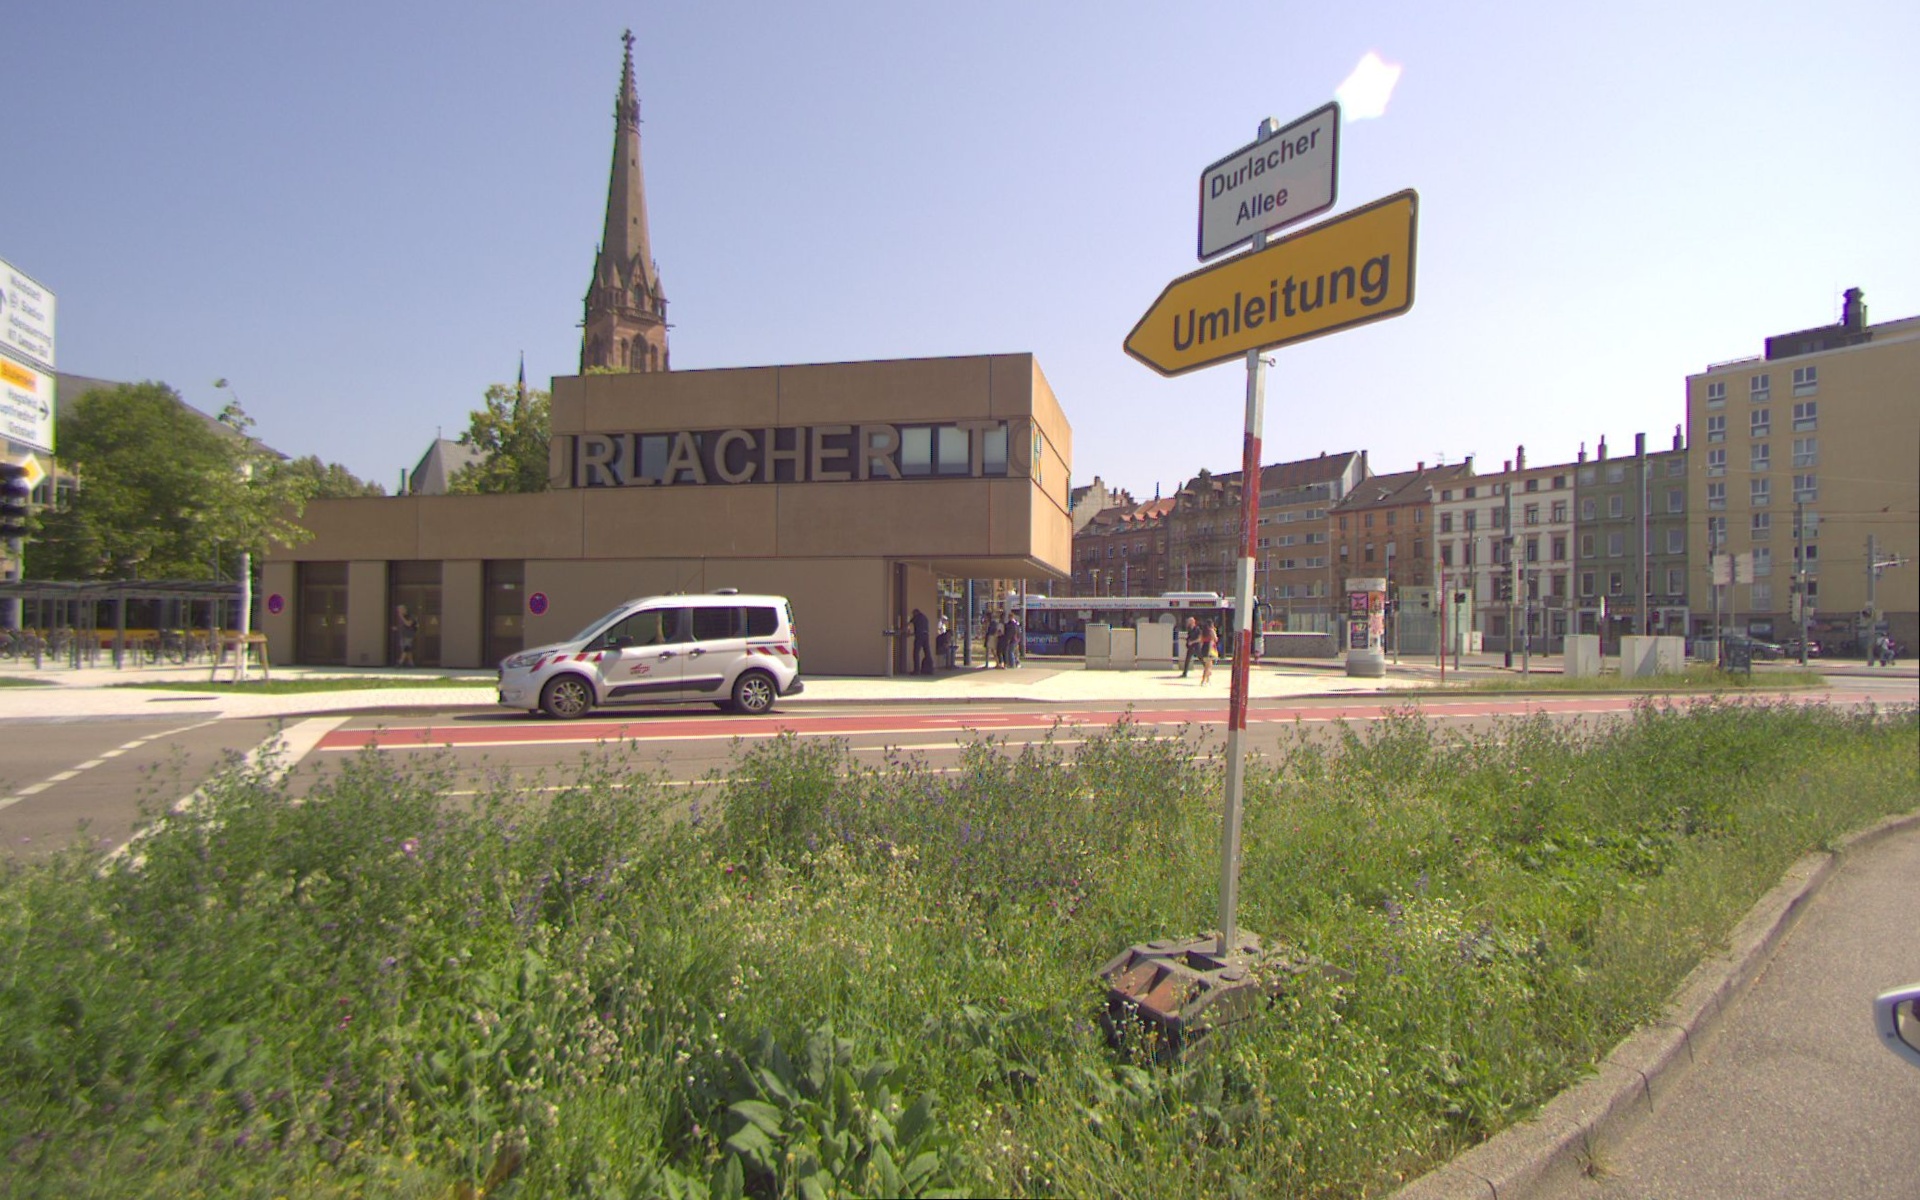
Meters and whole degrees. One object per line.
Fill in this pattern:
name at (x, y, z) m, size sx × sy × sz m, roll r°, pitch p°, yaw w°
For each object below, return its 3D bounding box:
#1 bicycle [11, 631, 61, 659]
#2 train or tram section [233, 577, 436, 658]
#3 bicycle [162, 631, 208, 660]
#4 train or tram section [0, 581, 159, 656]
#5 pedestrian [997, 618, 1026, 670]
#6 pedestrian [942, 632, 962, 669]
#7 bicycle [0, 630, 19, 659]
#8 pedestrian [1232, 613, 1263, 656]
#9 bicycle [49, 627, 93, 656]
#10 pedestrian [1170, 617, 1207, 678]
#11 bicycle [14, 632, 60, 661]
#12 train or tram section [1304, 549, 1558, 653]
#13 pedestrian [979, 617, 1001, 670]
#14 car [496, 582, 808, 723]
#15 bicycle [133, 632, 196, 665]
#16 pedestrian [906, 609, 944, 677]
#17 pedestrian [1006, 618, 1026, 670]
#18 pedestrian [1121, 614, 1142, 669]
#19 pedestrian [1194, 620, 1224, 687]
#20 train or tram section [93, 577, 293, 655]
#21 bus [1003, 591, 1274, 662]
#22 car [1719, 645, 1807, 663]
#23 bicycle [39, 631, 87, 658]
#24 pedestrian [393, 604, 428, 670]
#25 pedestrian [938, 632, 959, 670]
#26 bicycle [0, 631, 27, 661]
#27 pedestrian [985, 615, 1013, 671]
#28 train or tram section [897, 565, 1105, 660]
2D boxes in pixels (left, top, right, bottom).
bicycle at (-35.510, 1.722, 38.592) m, size 1.734 × 1.054 × 0.527 m, roll 0°, pitch -2°, yaw 15°
train or tram section at (-29.866, 0.930, 48.094) m, size 8.353 × 3.644 × 3.164 m, roll -1°, pitch -3°, yaw 12°
bicycle at (-28.616, 1.664, 37.080) m, size 1.608 × 1.054 × 0.413 m, roll 0°, pitch -2°, yaw 15°
train or tram section at (-46.090, 1.023, 51.644) m, size 8.159 × 3.606 × 3.141 m, roll -1°, pitch -3°, yaw 12°
pedestrian at (1.695, 1.450, 32.920) m, size 0.797 × 1.691 × 0.548 m, roll 1°, pitch -1°, yaw -21°
pedestrian at (-0.228, 1.510, 29.985) m, size 0.490 × 1.098 × 0.541 m, roll 0°, pitch -1°, yaw 11°
bicycle at (-35.930, 1.650, 37.320) m, size 1.734 × 1.054 × 0.527 m, roll 0°, pitch -2°, yaw 15°
pedestrian at (12.738, 1.534, 44.605) m, size 1.284 × 1.910 × 1.039 m, roll 0°, pitch -2°, yaw 14°
bicycle at (-33.634, 1.566, 37.998) m, size 1.608 × 1.054 × 0.413 m, roll 0°, pitch -2°, yaw 15°
pedestrian at (6.529, 1.349, 28.745) m, size 0.797 × 1.725 × 0.643 m, roll 1°, pitch -1°, yaw -21°
bicycle at (-33.722, 1.691, 36.715) m, size 1.608 × 1.054 × 0.413 m, roll 0°, pitch -2°, yaw 15°
train or tram section at (17.503, 0.155, 37.971) m, size 8.078 × 3.616 × 3.148 m, roll -1°, pitch -3°, yaw 12°
pedestrian at (0.939, 1.358, 31.530) m, size 0.502 × 1.635 × 0.490 m, roll 0°, pitch -2°, yaw 36°
car at (-4.654, 0.802, 15.253) m, size 4.278 × 1.884 × 1.987 m, roll 1°, pitch -4°, yaw -27°
bicycle at (-25.675, 1.565, 32.425) m, size 1.700 × 1.054 × 0.514 m, roll 0°, pitch -2°, yaw 5°
pedestrian at (-0.890, 1.084, 25.600) m, size 0.624 × 1.711 × 0.743 m, roll -1°, pitch -2°, yaw 42°
pedestrian at (1.797, 1.414, 32.194) m, size 0.559 × 1.635 × 0.492 m, roll 0°, pitch -1°, yaw 9°
pedestrian at (5.635, 1.367, 33.067) m, size 0.540 × 1.786 × 0.697 m, roll 1°, pitch -1°, yaw -1°
pedestrian at (6.594, 1.404, 26.586) m, size 0.616 × 1.725 × 0.787 m, roll 2°, pitch -1°, yaw 23°
train or tram section at (-38.016, 0.871, 49.889) m, size 8.353 × 3.644 × 3.164 m, roll -1°, pitch -3°, yaw 12°
bus at (8.329, 1.221, 47.492) m, size 12.230 × 3.111 × 3.109 m, roll 0°, pitch -2°, yaw 13°
car at (48.712, 3.274, 60.980) m, size 1.700 × 1.000 × 3.855 m, roll 2°, pitch -2°, yaw -36°
bicycle at (-35.548, 1.756, 39.796) m, size 1.734 × 1.054 × 0.527 m, roll 0°, pitch -2°, yaw 15°
pedestrian at (-14.269, 0.959, 26.085) m, size 0.525 × 1.700 × 0.569 m, roll 0°, pitch -2°, yaw 12°
pedestrian at (-0.336, 1.500, 29.430) m, size 0.490 × 1.098 × 0.541 m, roll 0°, pitch -1°, yaw 11°
bicycle at (-34.023, 1.631, 35.716) m, size 1.608 × 1.054 × 0.413 m, roll 0°, pitch -2°, yaw 15°
pedestrian at (1.175, 1.288, 30.276) m, size 0.679 × 1.635 × 0.639 m, roll 0°, pitch -1°, yaw 18°
train or tram section at (1.748, 0.598, 41.295) m, size 8.078 × 3.616 × 3.148 m, roll -1°, pitch -3°, yaw 12°
